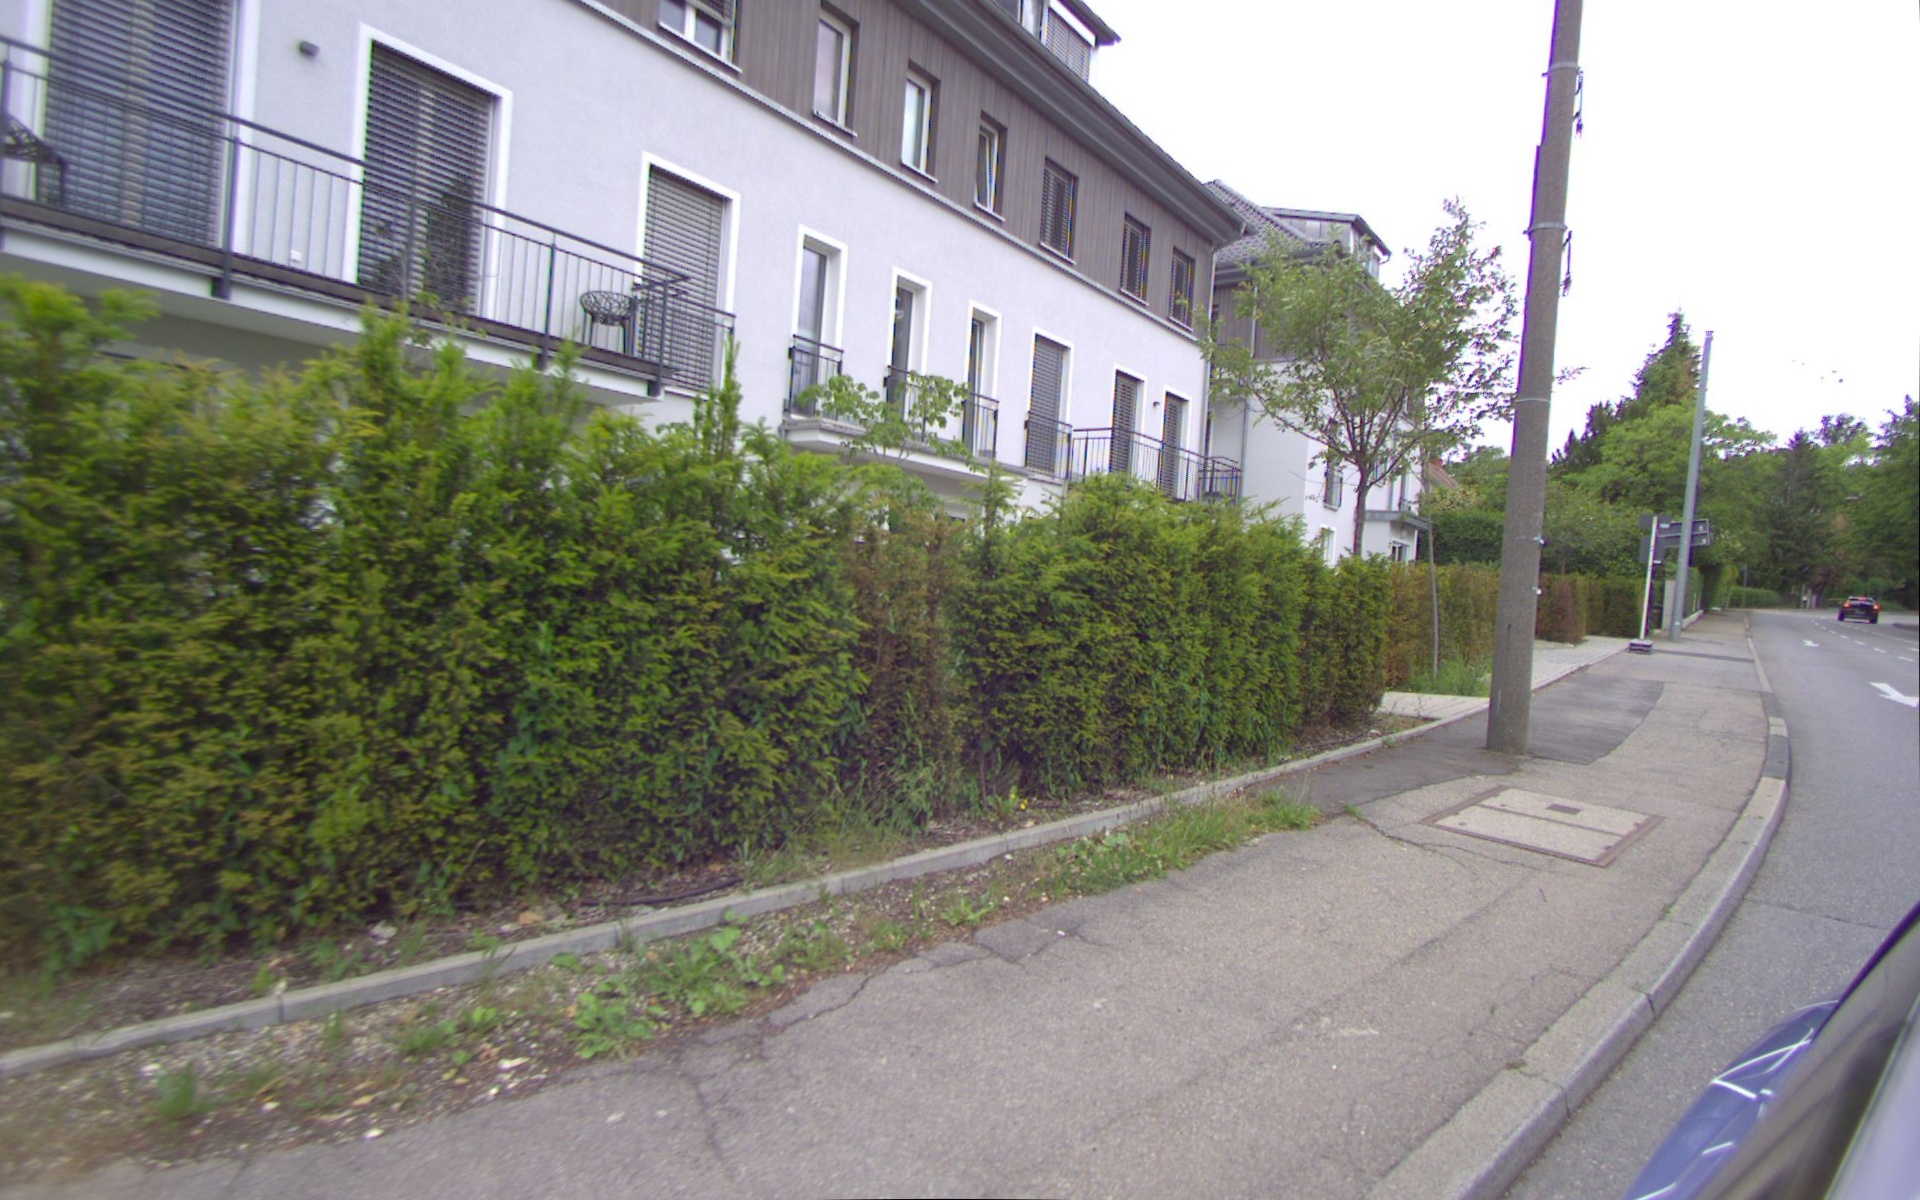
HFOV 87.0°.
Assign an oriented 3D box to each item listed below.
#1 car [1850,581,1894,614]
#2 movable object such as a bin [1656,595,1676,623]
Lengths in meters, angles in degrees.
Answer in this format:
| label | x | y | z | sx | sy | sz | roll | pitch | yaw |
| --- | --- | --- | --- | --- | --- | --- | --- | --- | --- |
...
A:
| label | x | y | z | sx | sy | sz | roll | pitch | yaw |
| --- | --- | --- | --- | --- | --- | --- | --- | --- | --- |
| car | 58.514 | -0.193 | 65.000 | 1.832 | 1.648 | 4.220 | 10 | 9 | 41 |
| movable object such as a bin | 24.977 | 0.329 | 35.789 | 0.462 | 0.949 | 0.599 | 3 | 2 | 28 |
